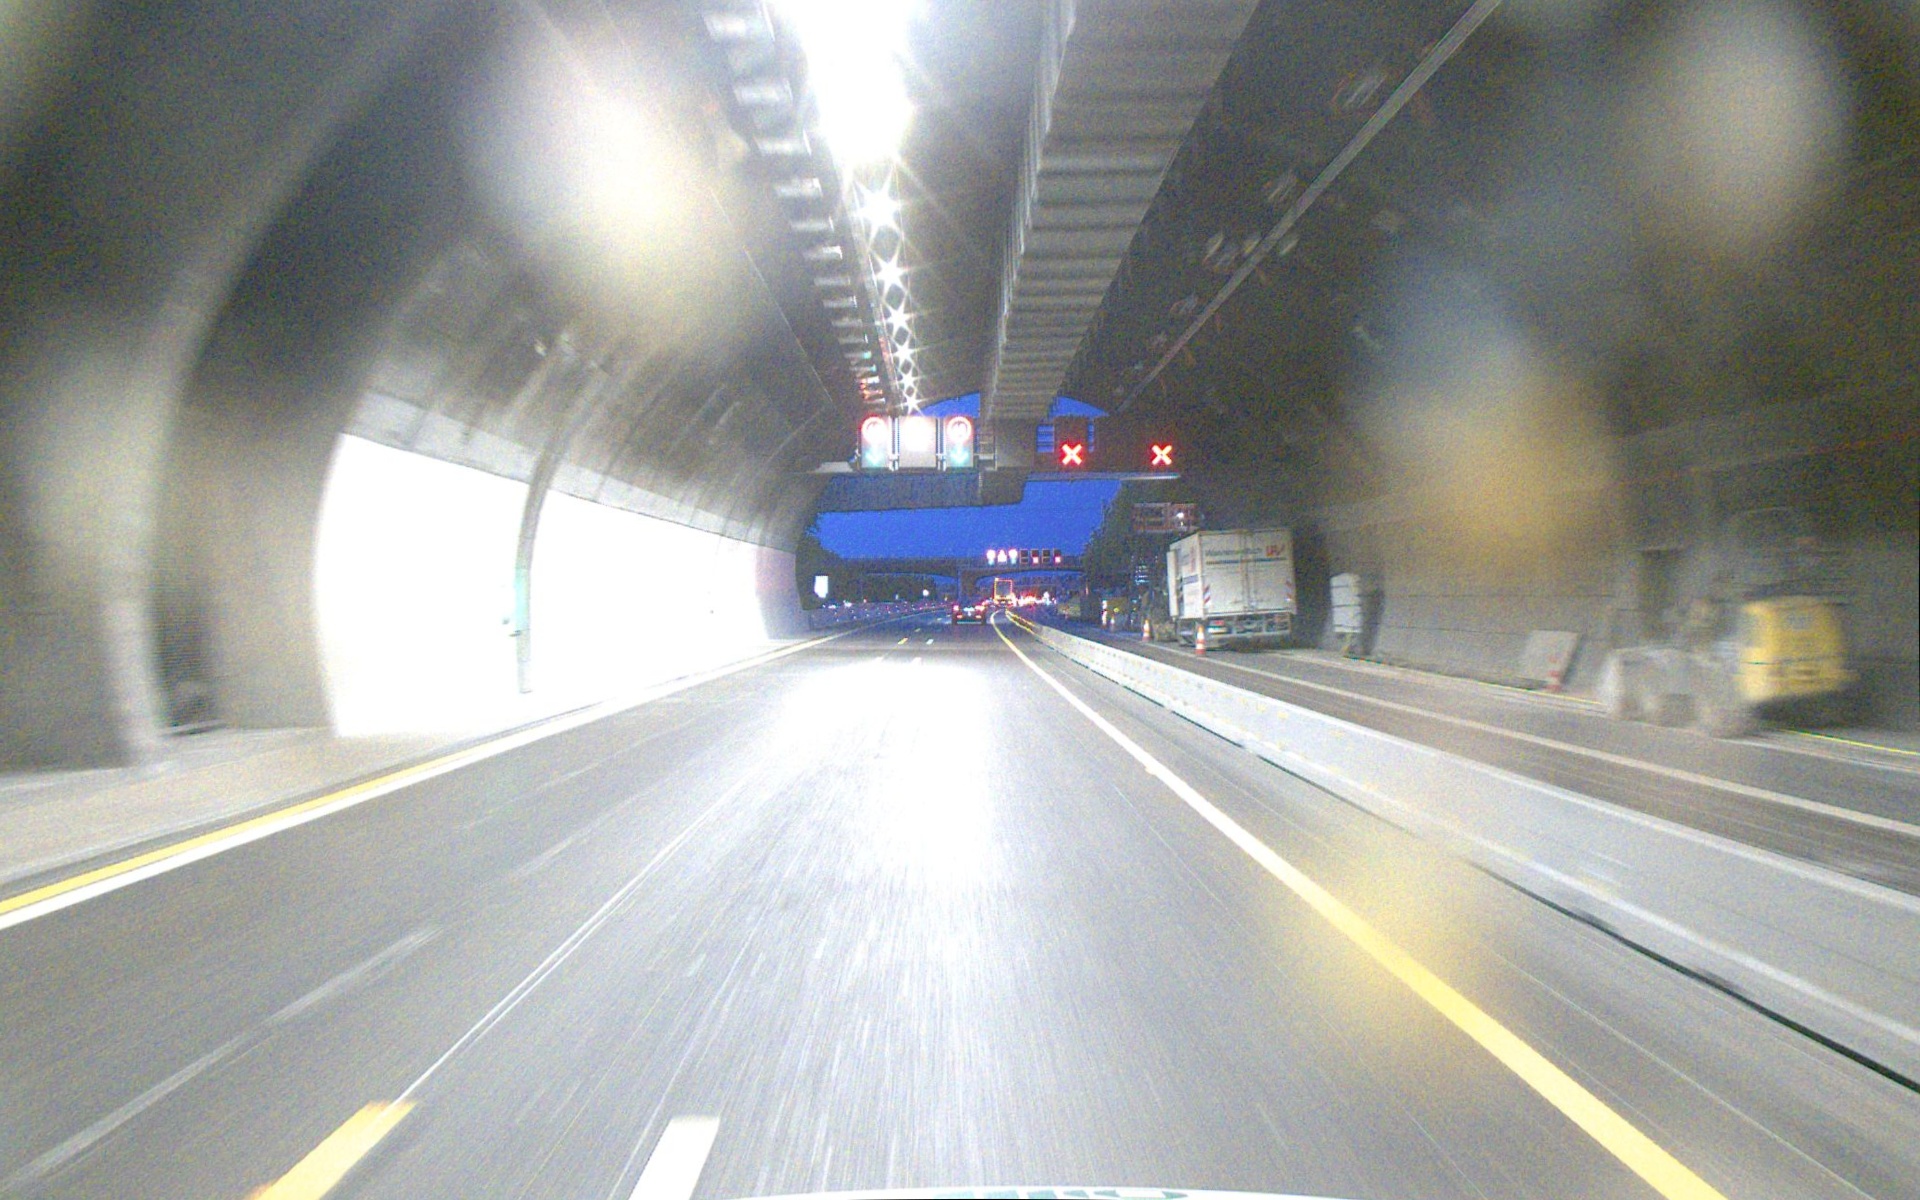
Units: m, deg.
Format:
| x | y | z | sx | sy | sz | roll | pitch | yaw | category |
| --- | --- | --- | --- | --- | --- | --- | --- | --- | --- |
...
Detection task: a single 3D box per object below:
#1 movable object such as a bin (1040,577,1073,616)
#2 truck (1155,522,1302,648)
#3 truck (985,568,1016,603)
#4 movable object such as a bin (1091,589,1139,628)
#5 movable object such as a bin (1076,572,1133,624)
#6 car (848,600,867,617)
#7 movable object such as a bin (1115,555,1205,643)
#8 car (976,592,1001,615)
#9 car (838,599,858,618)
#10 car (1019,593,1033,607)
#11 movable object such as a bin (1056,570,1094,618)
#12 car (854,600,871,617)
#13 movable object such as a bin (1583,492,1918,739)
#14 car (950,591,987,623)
| x | y | z | sx | sy | sz | roll | pitch | yaw | category |
| --- | --- | --- | --- | --- | --- | --- | --- | --- | --- |
| 8.845 | -0.333 | 152.356 | 2.681 | 3.516 | 6.947 | 0 | 0 | 1 | movable object such as a bin |
| 7.622 | -0.373 | 48.078 | 2.833 | 3.329 | 8.400 | 0 | 0 | 0 | truck |
| 5.925 | -2.045 | 244.455 | 4.452 | 5.074 | 9.599 | 0 | 0 | 1 | truck |
| 7.578 | 0.431 | 81.088 | 1.938 | 1.847 | 3.836 | 0 | 0 | 0 | movable object such as a bin |
| 8.115 | -0.095 | 93.796 | 2.681 | 2.802 | 7.050 | 0 | 0 | 1 | movable object such as a bin |
| -12.274 | 0.987 | 198.357 | 1.953 | 2.049 | 3.999 | 0 | 0 | 0 | car |
| 6.875 | -0.021 | 57.587 | 2.192 | 2.843 | 7.232 | 0 | 0 | 0 | movable object such as a bin |
| 2.604 | 0.305 | 149.340 | 1.951 | 2.049 | 4.002 | 0 | 0 | 5 | car |
| -12.758 | 0.951 | 188.257 | 1.953 | 2.049 | 3.999 | 0 | 0 | 0 | car |
| 9.615 | 0.021 | 241.337 | 1.952 | 2.049 | 4.000 | 0 | 0 | 1 | car |
| 9.236 | -0.432 | 133.198 | 2.681 | 3.743 | 6.333 | 0 | 0 | 1 | movable object such as a bin |
| -12.116 | 1.010 | 205.283 | 1.953 | 2.049 | 3.999 | 0 | 0 | 0 | car |
| 8.836 | 0.162 | 18.907 | 1.721 | 2.421 | 3.999 | -3 | 0 | -1 | movable object such as a bin |
| 0.431 | 0.369 | 87.817 | 1.849 | 1.635 | 3.999 | 0 | 0 | -1 | car |
